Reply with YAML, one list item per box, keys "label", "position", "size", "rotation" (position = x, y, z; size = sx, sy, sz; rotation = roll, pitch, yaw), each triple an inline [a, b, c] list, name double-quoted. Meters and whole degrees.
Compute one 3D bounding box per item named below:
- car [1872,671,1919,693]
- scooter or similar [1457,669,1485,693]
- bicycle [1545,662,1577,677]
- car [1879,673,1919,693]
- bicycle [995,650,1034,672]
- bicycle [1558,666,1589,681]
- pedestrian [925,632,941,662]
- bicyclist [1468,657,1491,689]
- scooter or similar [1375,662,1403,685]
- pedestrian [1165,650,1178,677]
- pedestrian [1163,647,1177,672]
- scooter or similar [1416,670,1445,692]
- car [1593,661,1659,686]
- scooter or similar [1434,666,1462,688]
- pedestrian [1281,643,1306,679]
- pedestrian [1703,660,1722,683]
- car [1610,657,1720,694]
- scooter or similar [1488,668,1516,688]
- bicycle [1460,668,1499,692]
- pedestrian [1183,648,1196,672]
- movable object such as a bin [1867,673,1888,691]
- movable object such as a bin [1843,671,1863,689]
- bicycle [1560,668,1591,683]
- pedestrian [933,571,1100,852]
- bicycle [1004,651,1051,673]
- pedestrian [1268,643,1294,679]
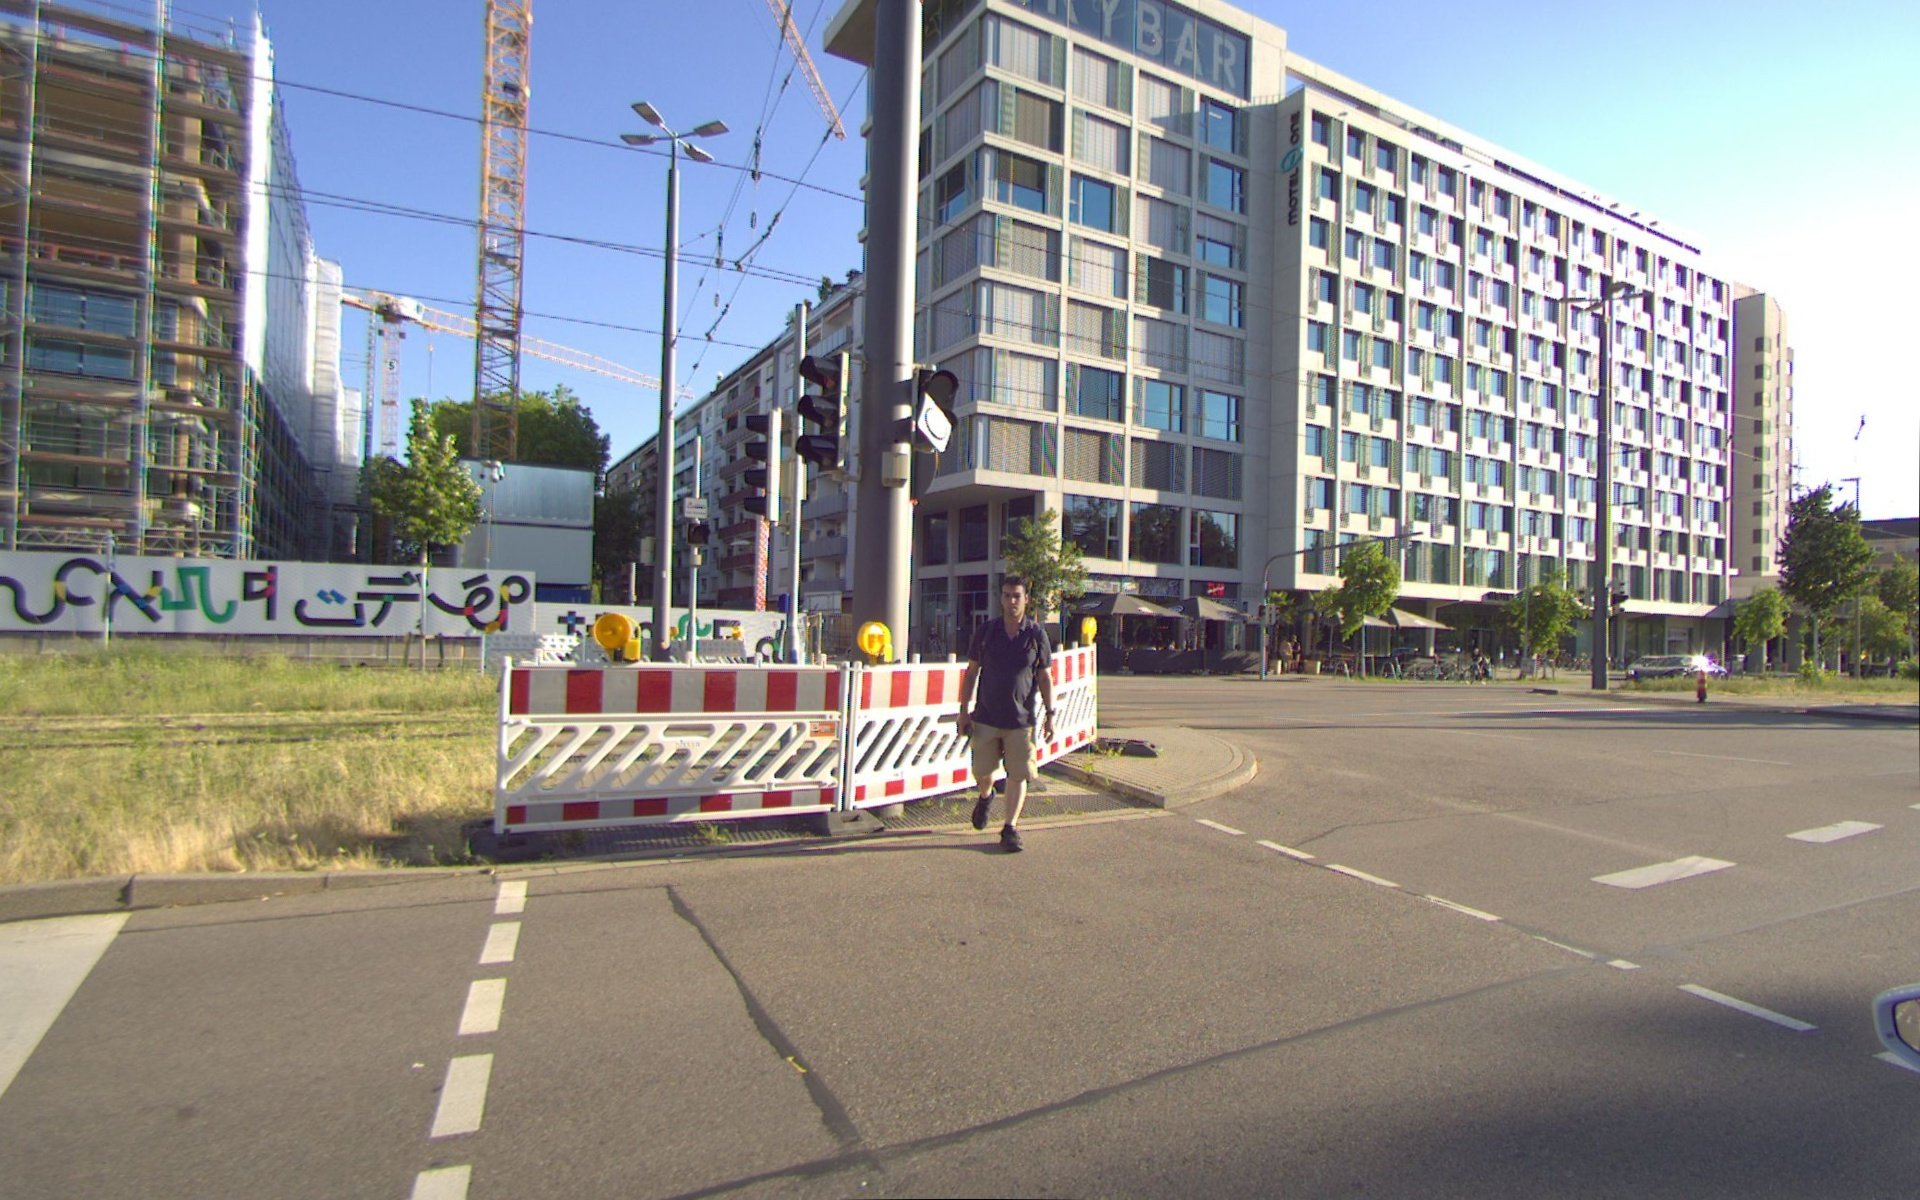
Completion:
- label: "car"
  position: [77.593, 6.787, 82.544]
  size: [3.554, 1.543, 1.621]
  rotation: [3, -1, 19]
- label: "scooter or similar"
  position: [26.018, 4.114, 51.164]
  size: [0.401, 1.187, 1.238]
  rotation: [3, -3, -29]
- label: "bicycle"
  position: [41.274, 4.779, 68.986]
  size: [0.507, 0.916, 1.792]
  rotation: [3, -3, -36]
- label: "car"
  position: [79.919, 6.996, 84.150]
  size: [3.919, 1.472, 1.788]
  rotation: [2, -1, 12]
- label: "bicycle"
  position: [2.587, 2.897, 47.659]
  size: [1.879, 0.948, 0.533]
  rotation: [3, -2, -31]
- label: "bicycle"
  position: [42.395, 5.095, 69.427]
  size: [0.507, 0.916, 1.792]
  rotation: [3, -3, -36]
- label: "pedestrian"
  position: [-1.398, 2.404, 51.329]
  size: [0.571, 1.518, 0.583]
  rotation: [3, -2, -32]
- label: "bicyclist"
  position: [24.694, 3.450, 47.729]
  size: [0.841, 1.484, 0.622]
  rotation: [3, -2, -30]
- label: "scooter or similar"
  position: [20.750, 3.553, 48.585]
  size: [0.401, 1.019, 1.238]
  rotation: [3, -3, -29]
- label: "pedestrian"
  position: [9.650, 2.918, 45.821]
  size: [0.428, 1.209, 0.361]
  rotation: [3, -2, -33]
- label: "pedestrian"
  position: [10.782, 3.058, 51.569]
  size: [0.491, 1.238, 0.429]
  rotation: [3, -2, -30]
- label: "scooter or similar"
  position: [23.202, 3.985, 49.568]
  size: [0.504, 1.032, 1.238]
  rotation: [3, -3, -29]
- label: "car"
  position: [39.947, 4.413, 60.233]
  size: [3.954, 1.345, 1.748]
  rotation: [3, -1, -30]
- label: "scooter or similar"
  position: [24.490, 3.854, 50.370]
  size: [0.430, 1.032, 1.238]
  rotation: [3, -3, -29]
- label: "pedestrian"
  position: [16.542, 3.038, 49.888]
  size: [0.791, 1.744, 0.868]
  rotation: [3, -2, -21]
- label: "pedestrian"
  position: [56.613, 5.354, 75.560]
  size: [0.958, 1.675, 0.840]
  rotation: [3, -2, -29]
- label: "car"
  position: [28.543, 3.064, 40.621]
  size: [4.796, 1.361, 1.881]
  rotation: [3, -2, -31]
- label: "scooter or similar"
  position: [28.382, 4.079, 52.600]
  size: [0.430, 1.032, 1.238]
  rotation: [3, -3, -29]
- label: "bicycle"
  position: [24.666, 3.803, 47.711]
  size: [2.053, 1.081, 0.622]
  rotation: [3, -2, -30]
- label: "pedestrian"
  position: [11.922, 3.124, 52.191]
  size: [0.491, 1.238, 0.429]
  rotation: [3, -2, -30]
- label: "movable object such as a bin"
  position: [70.579, 6.304, 77.284]
  size: [0.924, 1.297, 0.858]
  rotation: [2, -2, -16]
- label: "movable object such as a bin"
  position: [69.631, 6.221, 78.327]
  size: [0.924, 1.375, 0.858]
  rotation: [2, -2, -16]
- label: "bicycle"
  position: [42.669, 5.225, 69.653]
  size: [0.507, 0.916, 1.792]
  rotation: [3, -3, -36]
- label: "pedestrian"
  position: [0.342, 0.692, 6.540]
  size: [0.753, 1.670, 0.923]
  rotation: [3, -2, -19]
- label: "bicycle"
  position: [3.153, 2.909, 46.900]
  size: [2.191, 0.948, 0.615]
  rotation: [3, -2, -31]
- label: "pedestrian"
  position: [15.831, 2.998, 49.554]
  size: [0.791, 1.744, 0.868]
  rotation: [3, -2, -21]
